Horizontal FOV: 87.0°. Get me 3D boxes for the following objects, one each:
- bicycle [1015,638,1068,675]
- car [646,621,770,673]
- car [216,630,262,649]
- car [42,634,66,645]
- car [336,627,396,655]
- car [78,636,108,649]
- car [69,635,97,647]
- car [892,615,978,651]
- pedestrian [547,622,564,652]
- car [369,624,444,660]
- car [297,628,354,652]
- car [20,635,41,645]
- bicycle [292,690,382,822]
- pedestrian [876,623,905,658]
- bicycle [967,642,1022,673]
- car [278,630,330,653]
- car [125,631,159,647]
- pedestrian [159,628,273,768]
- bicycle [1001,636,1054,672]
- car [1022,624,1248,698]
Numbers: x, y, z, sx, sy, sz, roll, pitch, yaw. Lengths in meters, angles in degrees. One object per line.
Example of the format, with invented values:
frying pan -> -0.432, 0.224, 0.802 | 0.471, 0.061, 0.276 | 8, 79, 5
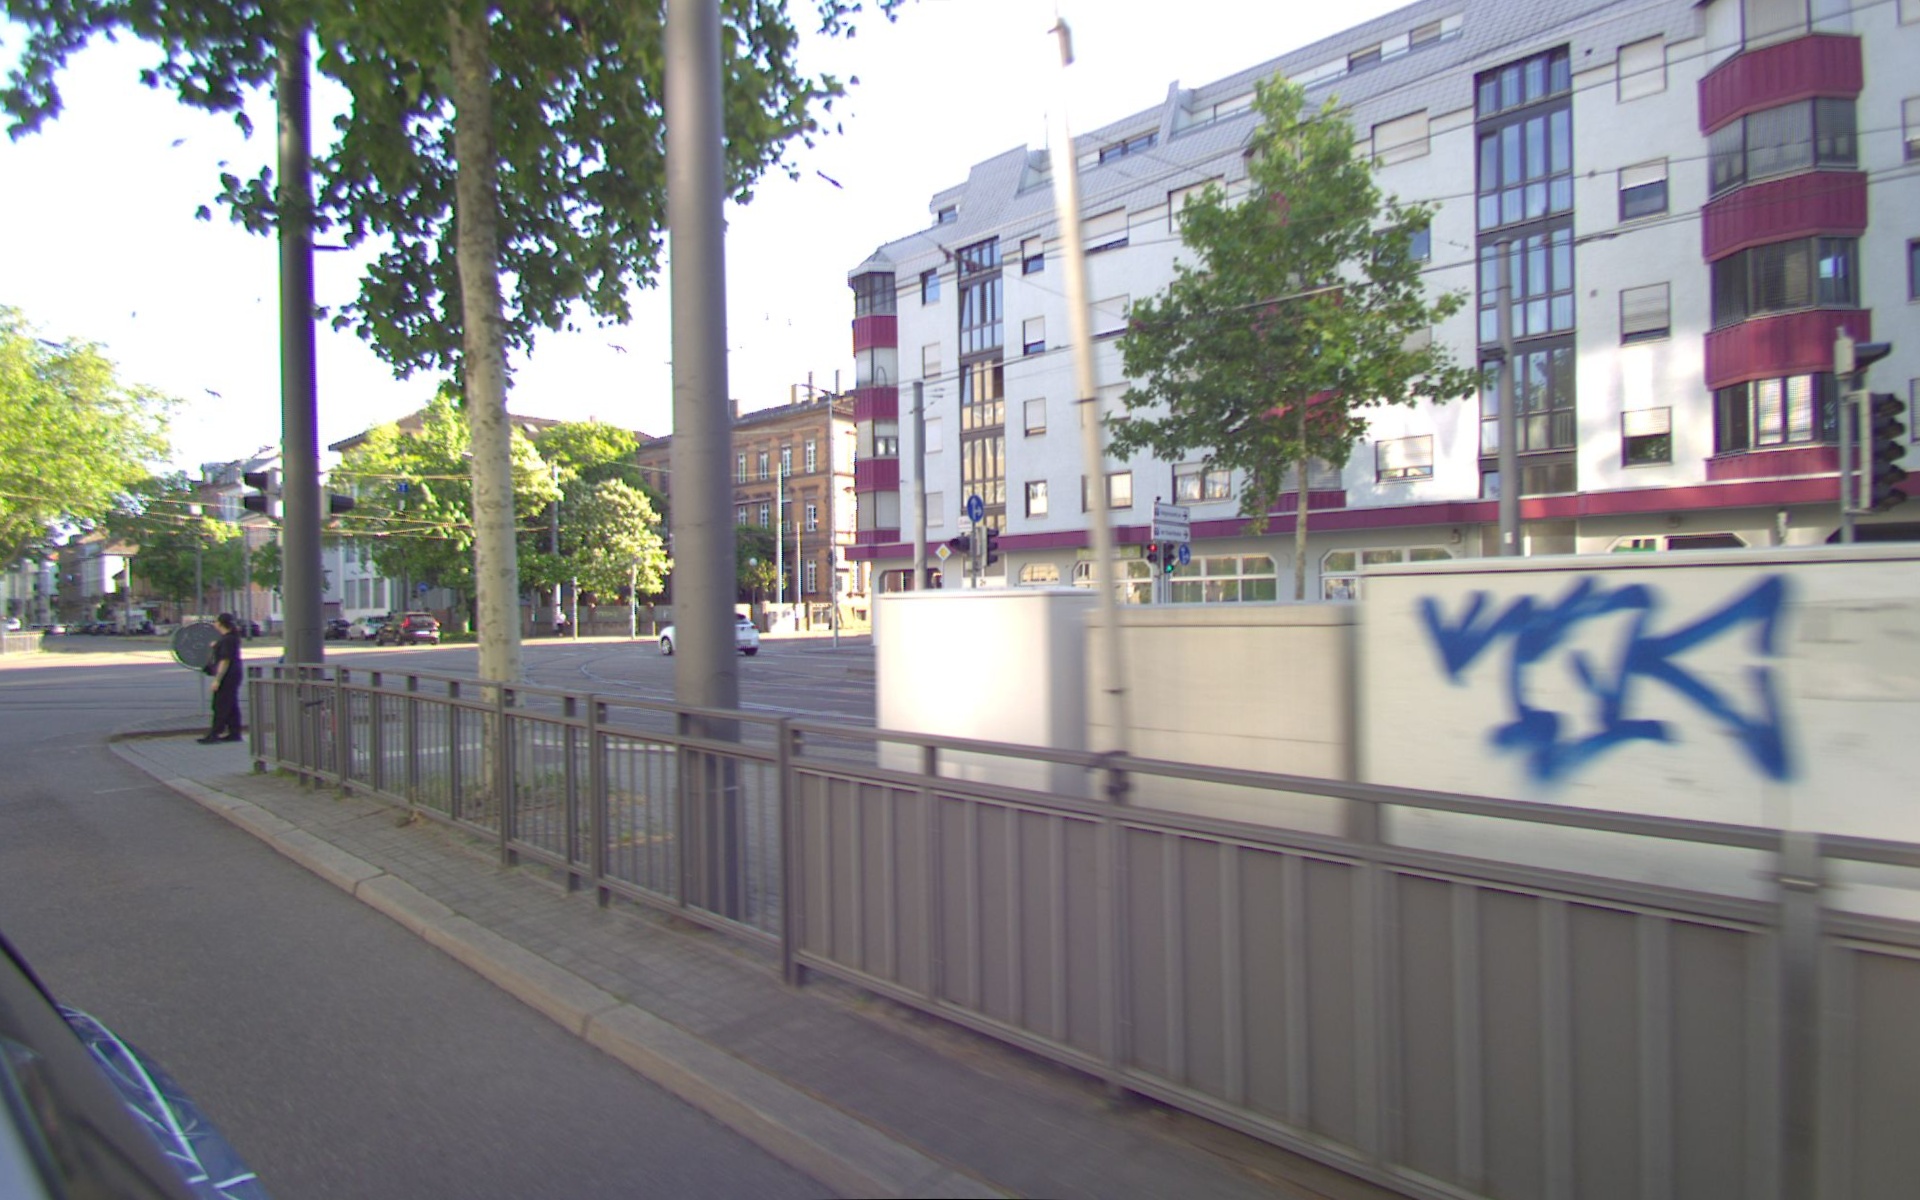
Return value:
bicycle -> 2.364, 1.620, 29.336 | 0.553, 0.992, 1.824 | -2, -1, 40
car -> -8.356, 1.521, 33.343 | 4.260, 1.607, 1.934 | -2, -2, 43
car -> -60.882, 3.319, 85.453 | 4.575, 1.481, 2.061 | -2, 1, 40
car -> -137.224, 5.968, 153.300 | 4.252, 1.551, 2.061 | -2, 1, 40
car -> -38.768, 2.634, 66.035 | 4.095, 1.631, 2.061 | -2, 1, 40
car -> -109.330, 5.335, 127.608 | 4.513, 1.551, 2.061 | -2, 1, 40
car -> -118.639, 5.546, 136.892 | 5.101, 1.552, 2.061 | -2, -1, 40
car -> -1.113, 1.477, 46.478 | 1.995, 1.567, 3.953 | -2, -1, 35
pedestrian -> -23.285, 2.134, 58.308 | 0.627, 1.677, 0.565 | -2, 1, 20
car -> -27.298, 2.041, 49.865 | 4.258, 1.685, 1.934 | -2, -2, 41
car -> -44.067, 2.782, 70.266 | 4.454, 1.513, 2.061 | -2, 1, 40
car -> -156.397, 6.769, 170.327 | 4.117, 1.551, 2.061 | -2, 1, 40
bicycle -> -5.058, 1.218, 8.185 | 0.391, 0.956, 1.352 | 0, -4, -41
pedestrian -> -2.866, 1.667, 41.757 | 0.834, 1.395, 0.850 | -2, -2, 33
bicycle -> 1.056, 1.727, 30.689 | 1.822, 0.860, 0.553 | 0, -2, -45
car -> -48.132, 3.027, 74.277 | 3.994, 1.501, 2.061 | -2, 1, 40
car -> -91.552, 4.377, 113.273 | 4.529, 1.686, 2.061 | -2, 1, 40
pedestrian -> -8.750, 1.121, 11.950 | 1.031, 1.556, 0.696 | 0, -2, -32
bicycle -> 2.000, 1.570, 29.840 | 0.553, 0.992, 1.824 | -2, -1, 40
car -> 3.703, 1.260, 21.983 | 4.649, 1.410, 1.682 | -2, -1, 41
